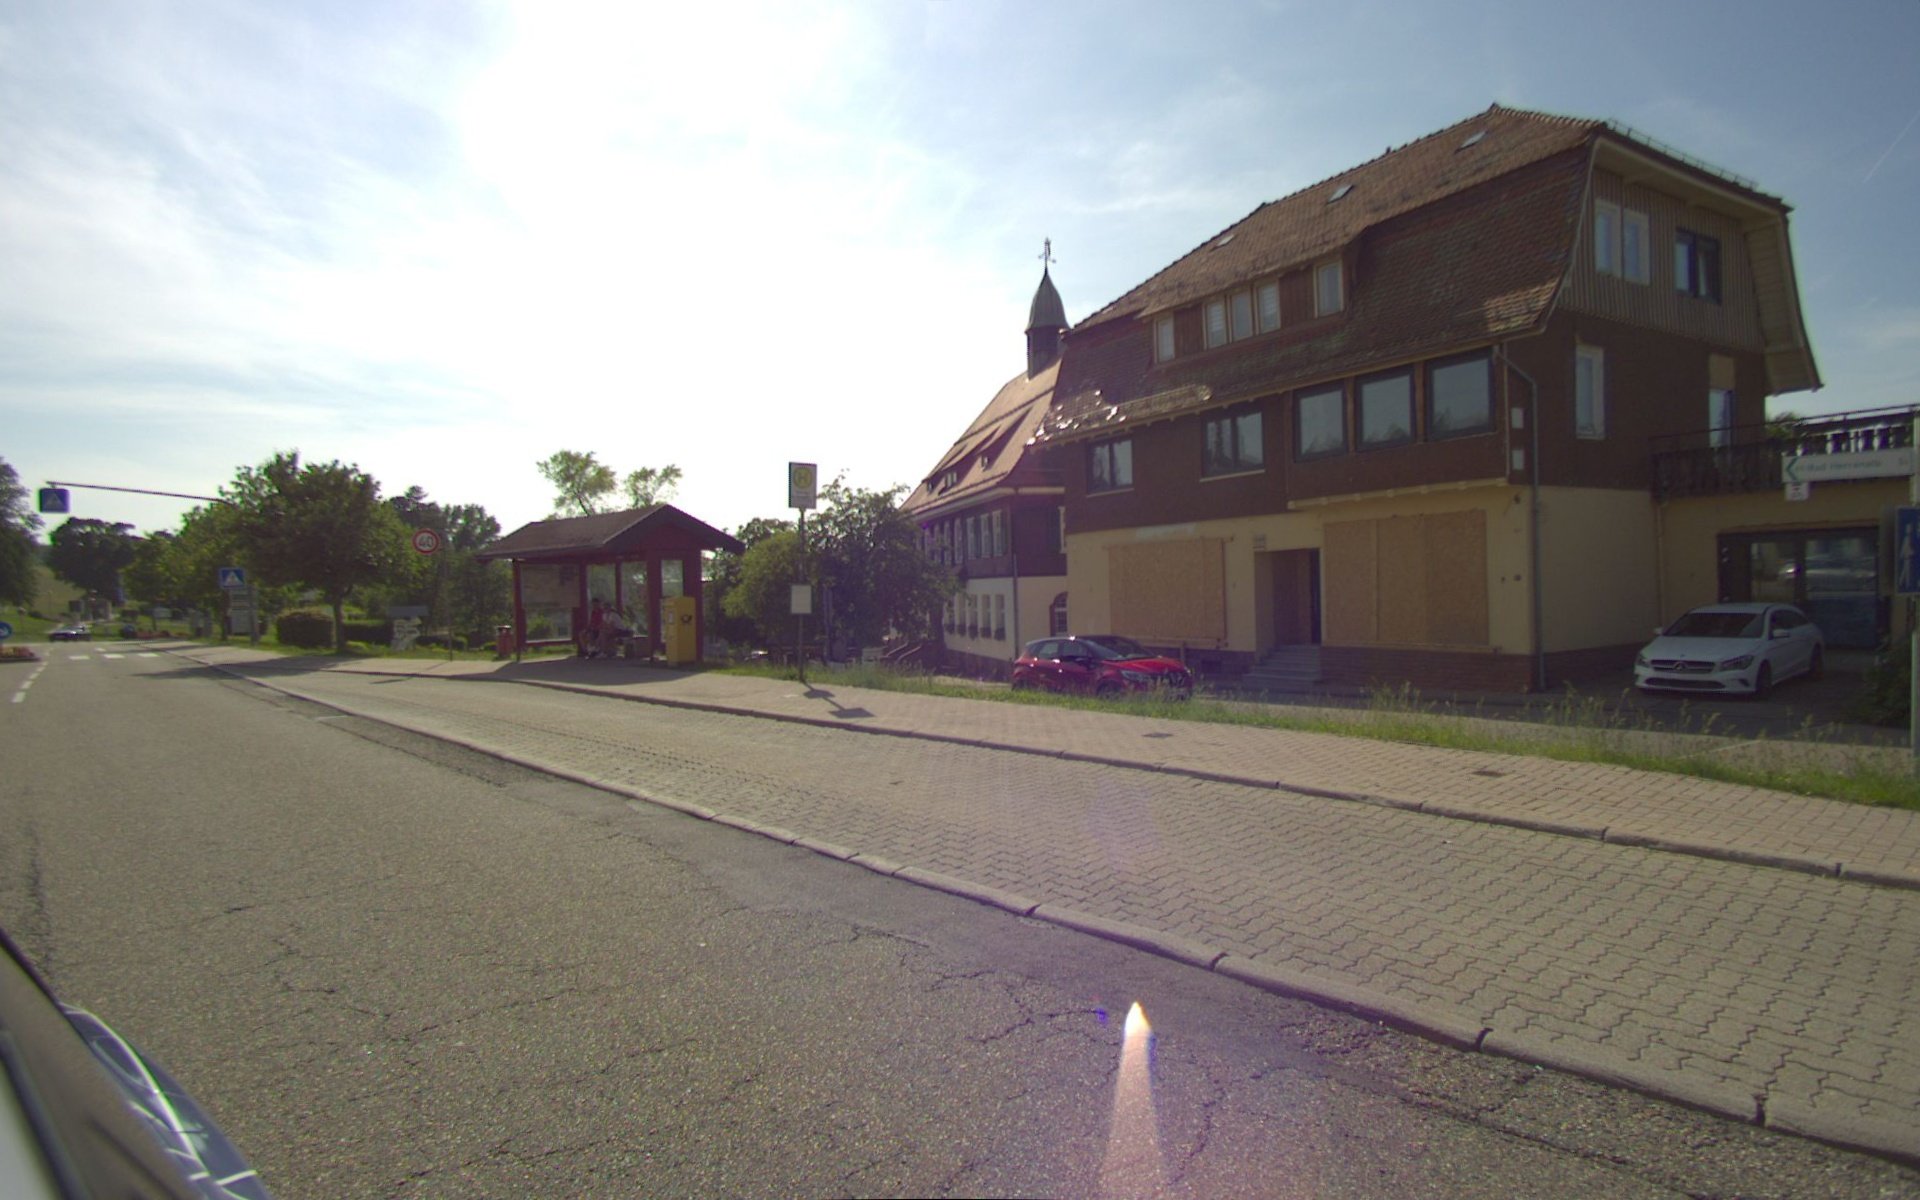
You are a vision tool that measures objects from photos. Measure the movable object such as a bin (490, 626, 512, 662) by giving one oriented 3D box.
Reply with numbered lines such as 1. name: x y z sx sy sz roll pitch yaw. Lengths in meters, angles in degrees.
1. movable object such as a bin: -11.005 1.041 24.247 0.485 0.843 0.301 -1 -1 41

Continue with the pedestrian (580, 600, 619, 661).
1. pedestrian: -8.307 0.704 23.328 0.674 1.375 0.611 -4 -4 42

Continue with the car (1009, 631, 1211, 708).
1. car: 2.774 1.267 19.596 1.697 1.307 4.011 1 -2 -32

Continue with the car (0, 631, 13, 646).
1. car: -93.632 3.660 96.786 4.196 1.440 1.706 0 -2 -12

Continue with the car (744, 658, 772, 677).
1. car: -18.643 6.239 93.473 1.542 1.652 2.979 1 -3 -33

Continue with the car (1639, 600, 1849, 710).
1. car: 13.664 0.848 17.573 4.245 1.522 1.804 -2 2 -36

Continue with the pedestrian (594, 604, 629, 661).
1. pedestrian: -7.894 0.729 22.925 0.423 1.262 0.622 -2 -3 41
